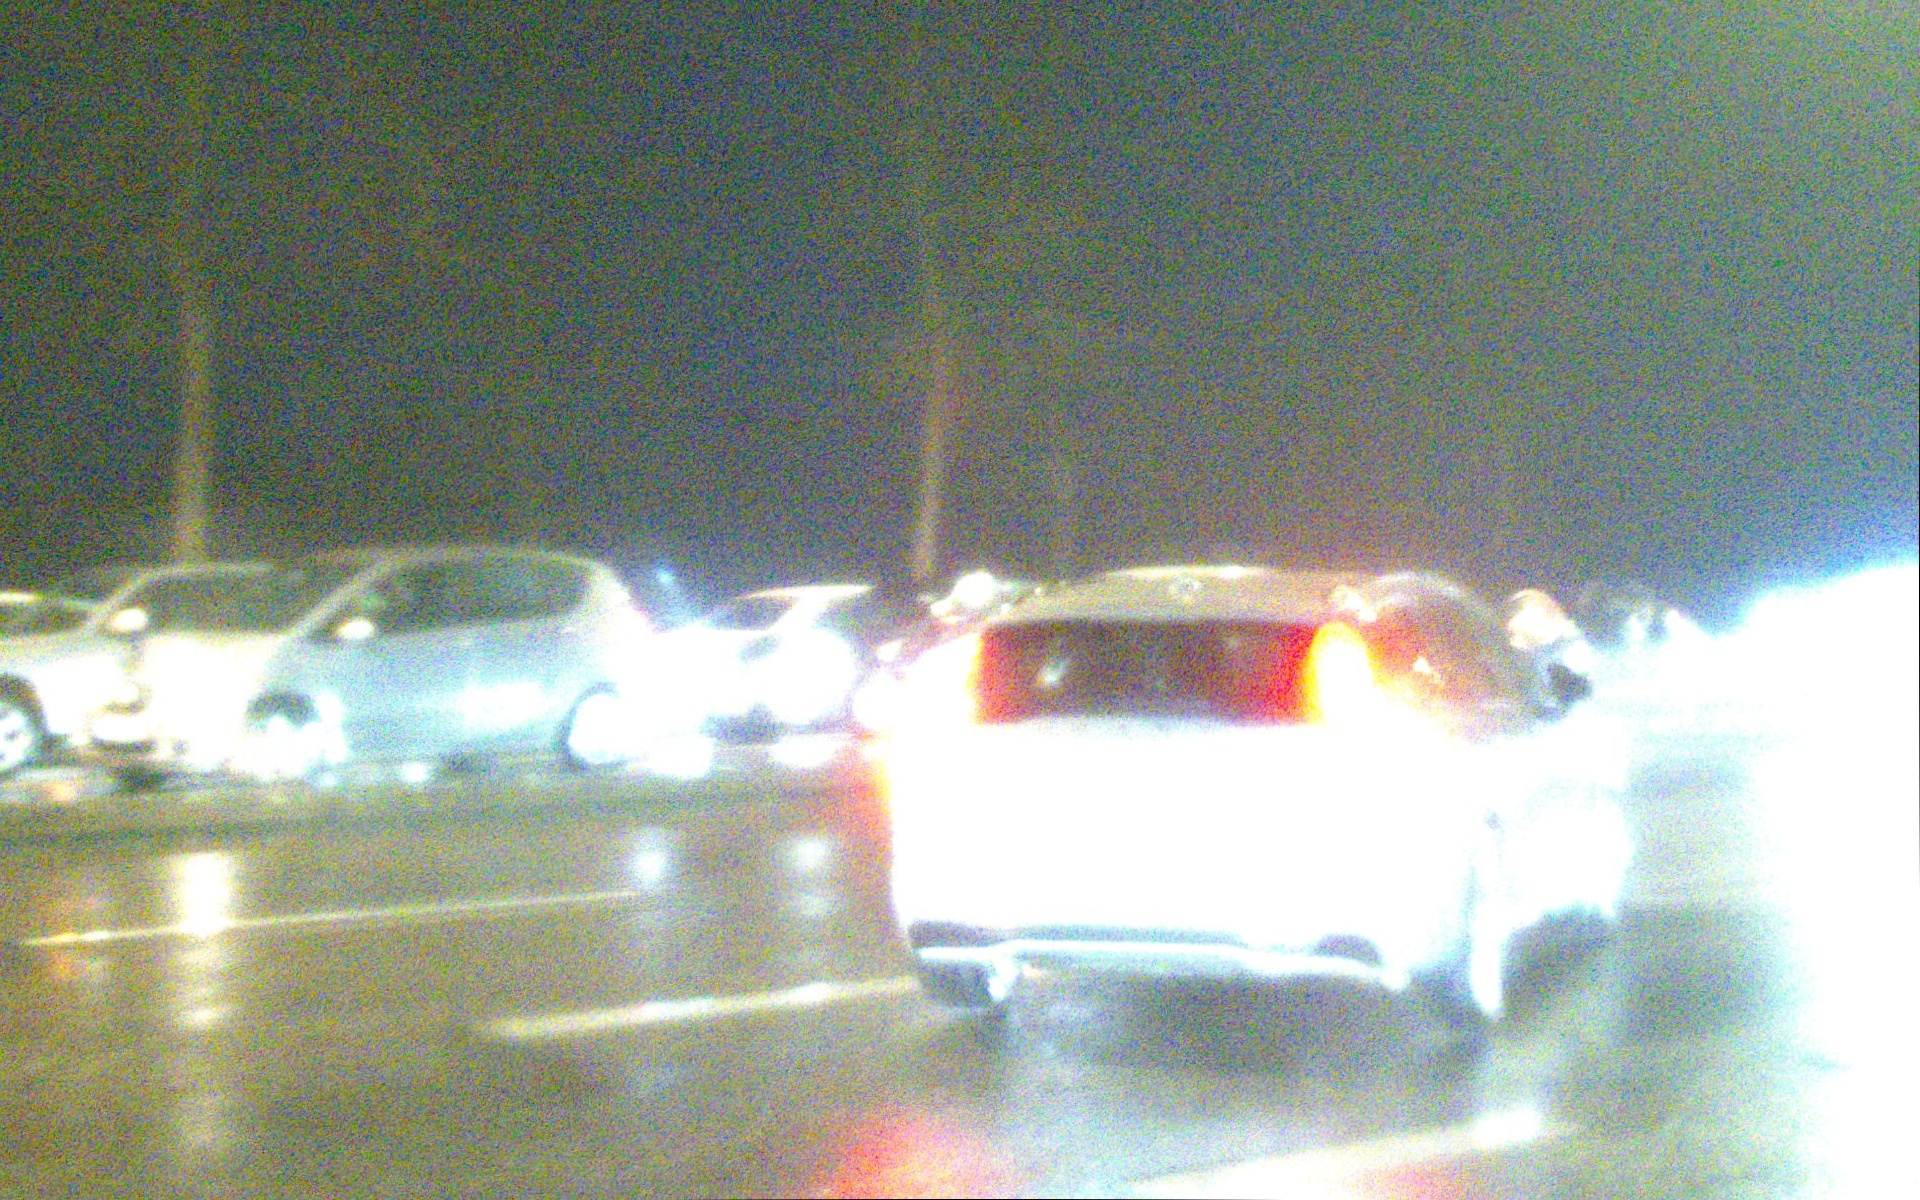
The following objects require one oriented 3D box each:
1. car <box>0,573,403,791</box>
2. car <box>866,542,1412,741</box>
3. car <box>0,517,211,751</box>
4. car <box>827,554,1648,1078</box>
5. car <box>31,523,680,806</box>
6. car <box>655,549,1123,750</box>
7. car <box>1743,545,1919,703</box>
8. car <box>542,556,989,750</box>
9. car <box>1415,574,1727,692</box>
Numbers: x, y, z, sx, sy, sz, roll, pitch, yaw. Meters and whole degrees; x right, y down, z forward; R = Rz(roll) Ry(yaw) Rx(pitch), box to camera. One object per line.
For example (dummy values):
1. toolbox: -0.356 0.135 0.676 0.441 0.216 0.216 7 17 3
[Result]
1. car: -6.211 0.578 24.664 4.046 1.482 1.717 1 -1 -40
2. car: 1.503 0.311 27.635 4.400 1.479 1.781 -1 -1 -43
3. car: -8.383 0.233 27.580 4.272 1.842 1.764 3 0 -44
4. car: 1.169 0.592 11.968 1.798 1.447 4.264 1 1 19
5. car: -3.950 0.361 22.815 3.890 1.719 1.764 -1 1 -42
6. car: -0.579 0.446 30.541 3.966 1.660 1.803 1 -1 -44
7. car: 10.297 0.239 36.514 4.294 1.572 1.817 -1 -1 -45
8. car: -1.871 0.530 34.028 4.238 1.793 1.803 1 -1 -44
9. car: 7.602 0.380 42.610 4.029 1.372 1.764 -1 0 -44
